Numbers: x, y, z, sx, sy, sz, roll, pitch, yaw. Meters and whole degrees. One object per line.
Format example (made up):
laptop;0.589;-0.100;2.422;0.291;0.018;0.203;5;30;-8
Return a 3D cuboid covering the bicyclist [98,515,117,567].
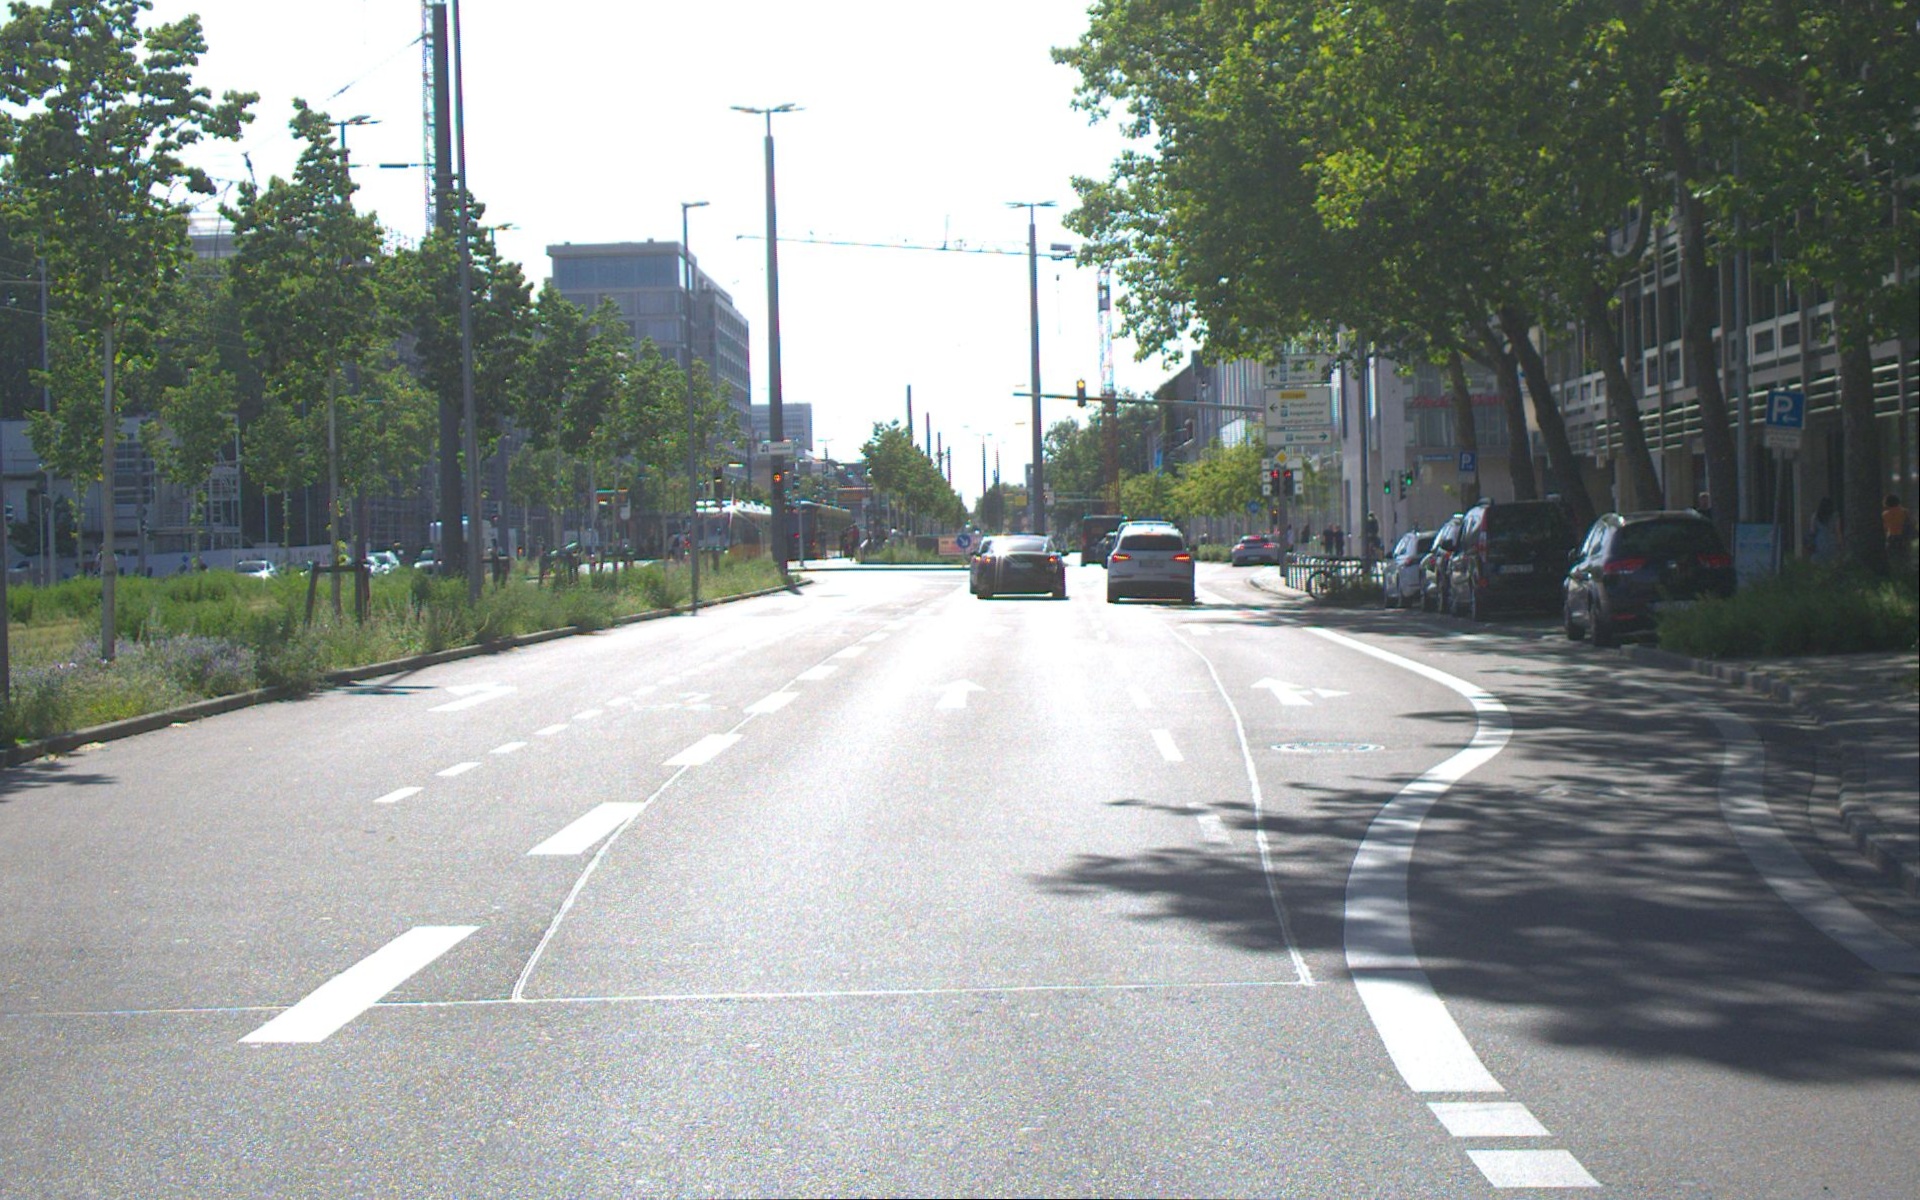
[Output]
bicyclist;-24.159;-1.668;97.448;0.394;1.449;0.539;1;1;1

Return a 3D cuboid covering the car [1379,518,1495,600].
car;9.096;-0.808;65.822;1.704;1.487;4.600;-1;1;2

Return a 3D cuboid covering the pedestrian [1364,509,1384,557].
pedestrian;12.330;-1.994;102.317;0.562;1.435;0.631;1;0;9

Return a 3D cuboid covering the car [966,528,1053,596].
car;1.135;-0.885;78.655;1.912;1.481;4.010;-1;1;1

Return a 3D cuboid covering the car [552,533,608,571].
car;-12.167;-1.542;110.205;1.376;1.174;3.220;1;0;1

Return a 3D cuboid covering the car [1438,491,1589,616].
car;8.582;-0.742;53.559;1.704;1.783;4.192;-3;1;2

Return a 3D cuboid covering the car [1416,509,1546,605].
car;8.894;-0.755;58.958;1.704;1.558;4.192;-1;1;2

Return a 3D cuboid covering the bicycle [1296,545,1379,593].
bicycle;8.183;-0.673;74.502;1.693;0.954;0.478;-3;1;-2

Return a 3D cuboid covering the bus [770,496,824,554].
bus;-8.849;-4.036;187.273;2.627;2.949;9.899;1;0;-1

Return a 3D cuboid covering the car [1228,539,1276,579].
car;12.174;-1.704;143.609;1.662;1.643;3.701;1;0;0

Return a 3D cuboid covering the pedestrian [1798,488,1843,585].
pedestrian;14.111;-1.041;56.378;0.505;1.579;0.635;-1;1;-7

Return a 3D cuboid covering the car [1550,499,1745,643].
car;8.326;-0.390;41.954;1.704;1.637;4.636;-1;1;4

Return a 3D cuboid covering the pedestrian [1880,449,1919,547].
pedestrian;15.448;-1.666;56.380;0.553;1.597;0.573;-1;1;2

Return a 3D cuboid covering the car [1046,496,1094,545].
car;4.705;-3.378;147.063;1.993;2.007;4.000;1;0;2

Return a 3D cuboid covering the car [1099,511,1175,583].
car;4.551;-1.386;88.665;1.721;1.776;4.186;-1;1;0

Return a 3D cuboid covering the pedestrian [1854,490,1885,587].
pedestrian;14.915;-1.014;56.381;0.315;1.579;0.502;-1;1;-7

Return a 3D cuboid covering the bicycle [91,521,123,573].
bicycle;-24.174;-1.499;97.444;0.360;1.450;1.913;-1;2;2

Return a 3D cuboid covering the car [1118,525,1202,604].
car;4.297;-0.793;74.012;1.722;1.612;4.186;-1;1;3

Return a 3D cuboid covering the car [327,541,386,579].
car;-26.680;-1.765;152.035;1.837;1.607;3.895;1;0;1

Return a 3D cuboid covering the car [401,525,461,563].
car;-17.018;-1.785;110.770;1.376;1.174;3.220;1;0;1

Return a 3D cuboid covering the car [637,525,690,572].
car;-11.975;-2.066;139.063;1.896;1.809;4.000;1;0;-1
